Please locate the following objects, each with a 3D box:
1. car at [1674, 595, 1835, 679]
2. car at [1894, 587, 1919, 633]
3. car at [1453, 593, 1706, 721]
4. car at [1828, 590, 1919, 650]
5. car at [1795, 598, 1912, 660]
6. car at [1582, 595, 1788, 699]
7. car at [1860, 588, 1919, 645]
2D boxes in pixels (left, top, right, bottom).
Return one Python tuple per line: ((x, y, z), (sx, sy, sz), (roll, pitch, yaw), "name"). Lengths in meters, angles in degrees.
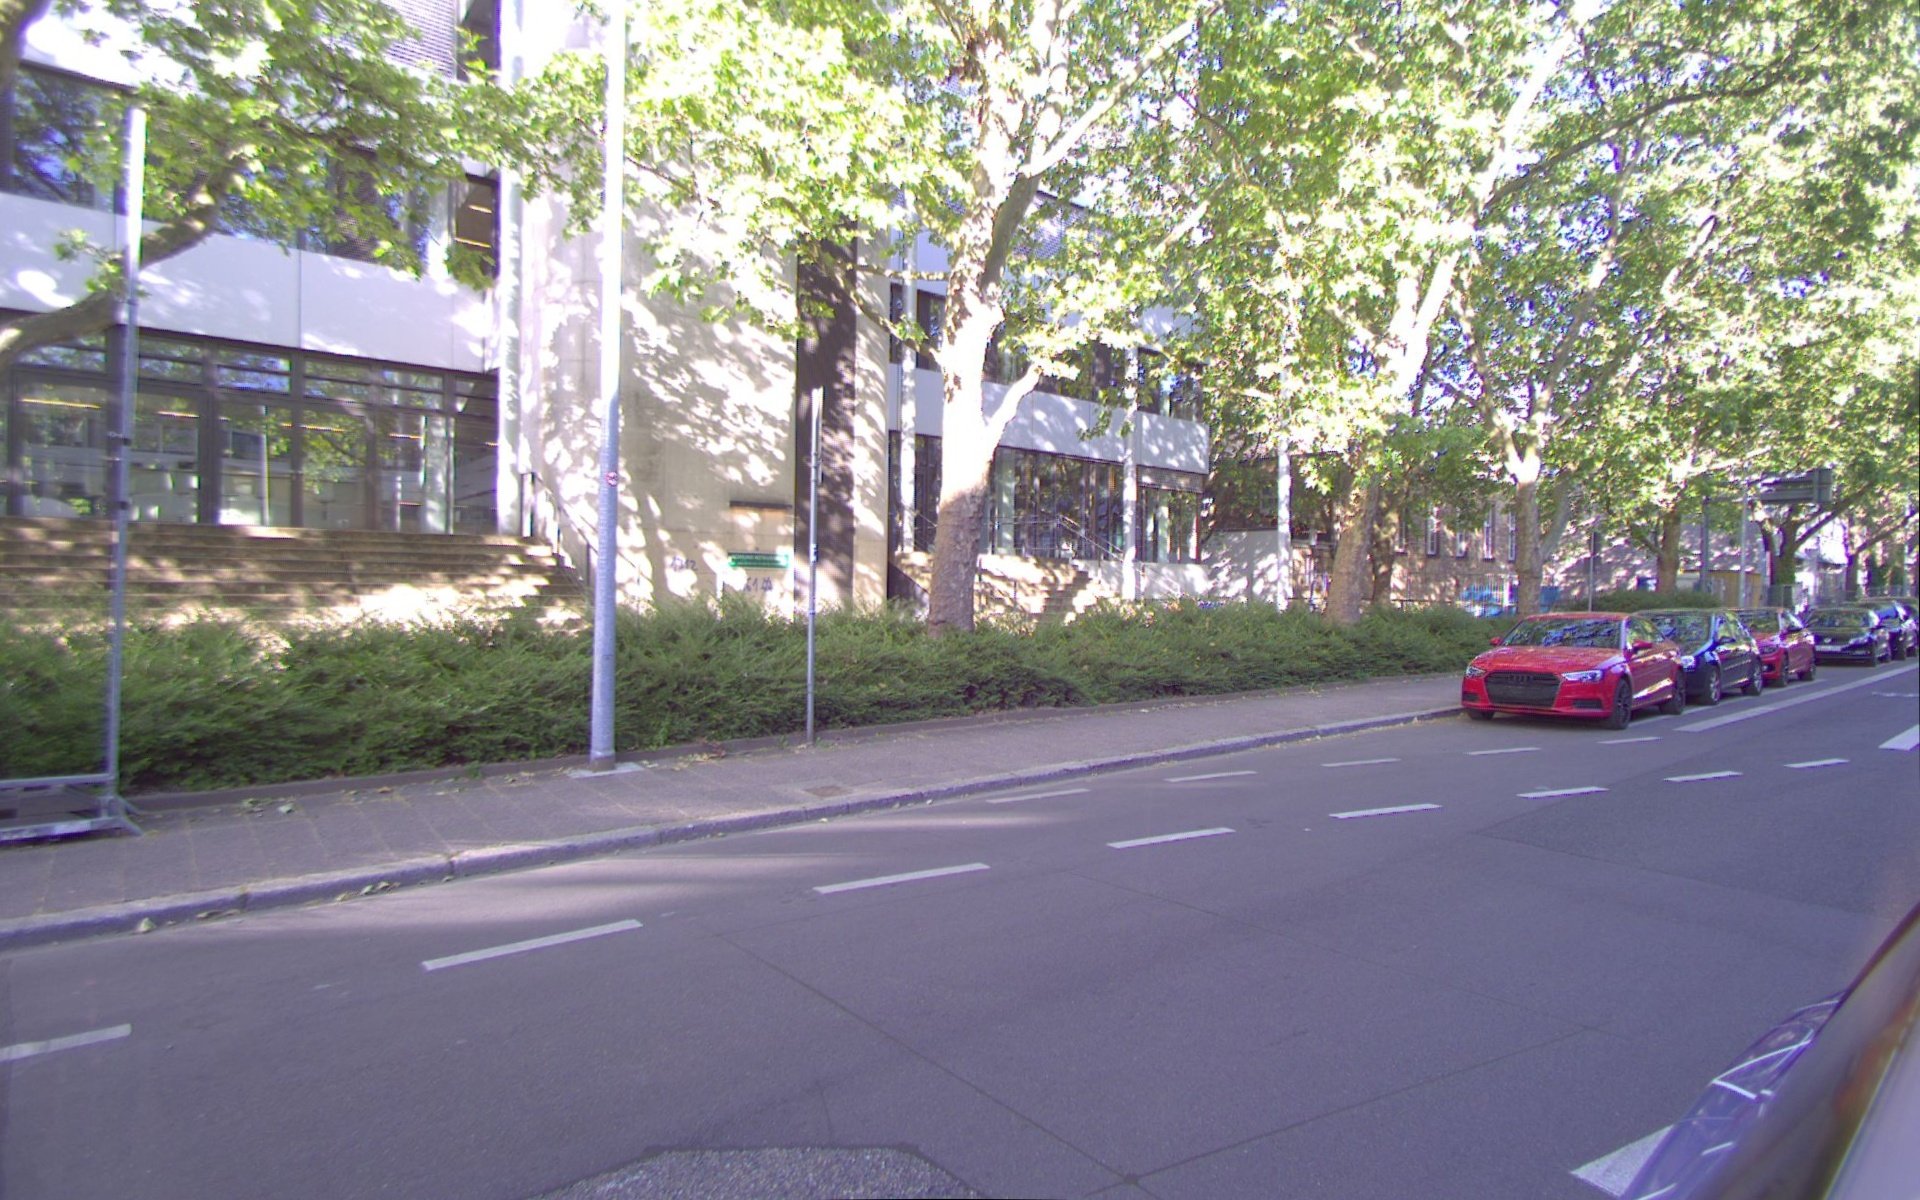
((15.701, 0.654, 19.938), (3.930, 1.456, 1.789), (0, 1, -41), "car")
((35.736, 0.371, 37.078), (4.004, 1.638, 1.797), (0, 1, -41), "car")
((8.333, 0.642, 13.471), (4.101, 1.443, 1.773), (0, -1, -42), "car")
((26.643, 0.531, 29.196), (4.158, 1.601, 1.847), (0, 1, -41), "car")
((22.979, 0.687, 25.999), (3.930, 1.456, 1.744), (0, 1, -41), "car")
((11.923, 0.666, 16.566), (3.929, 1.475, 1.812), (0, 1, -40), "car")
((31.077, 0.489, 33.057), (4.188, 1.747, 1.997), (-1, 0, -41), "car")
